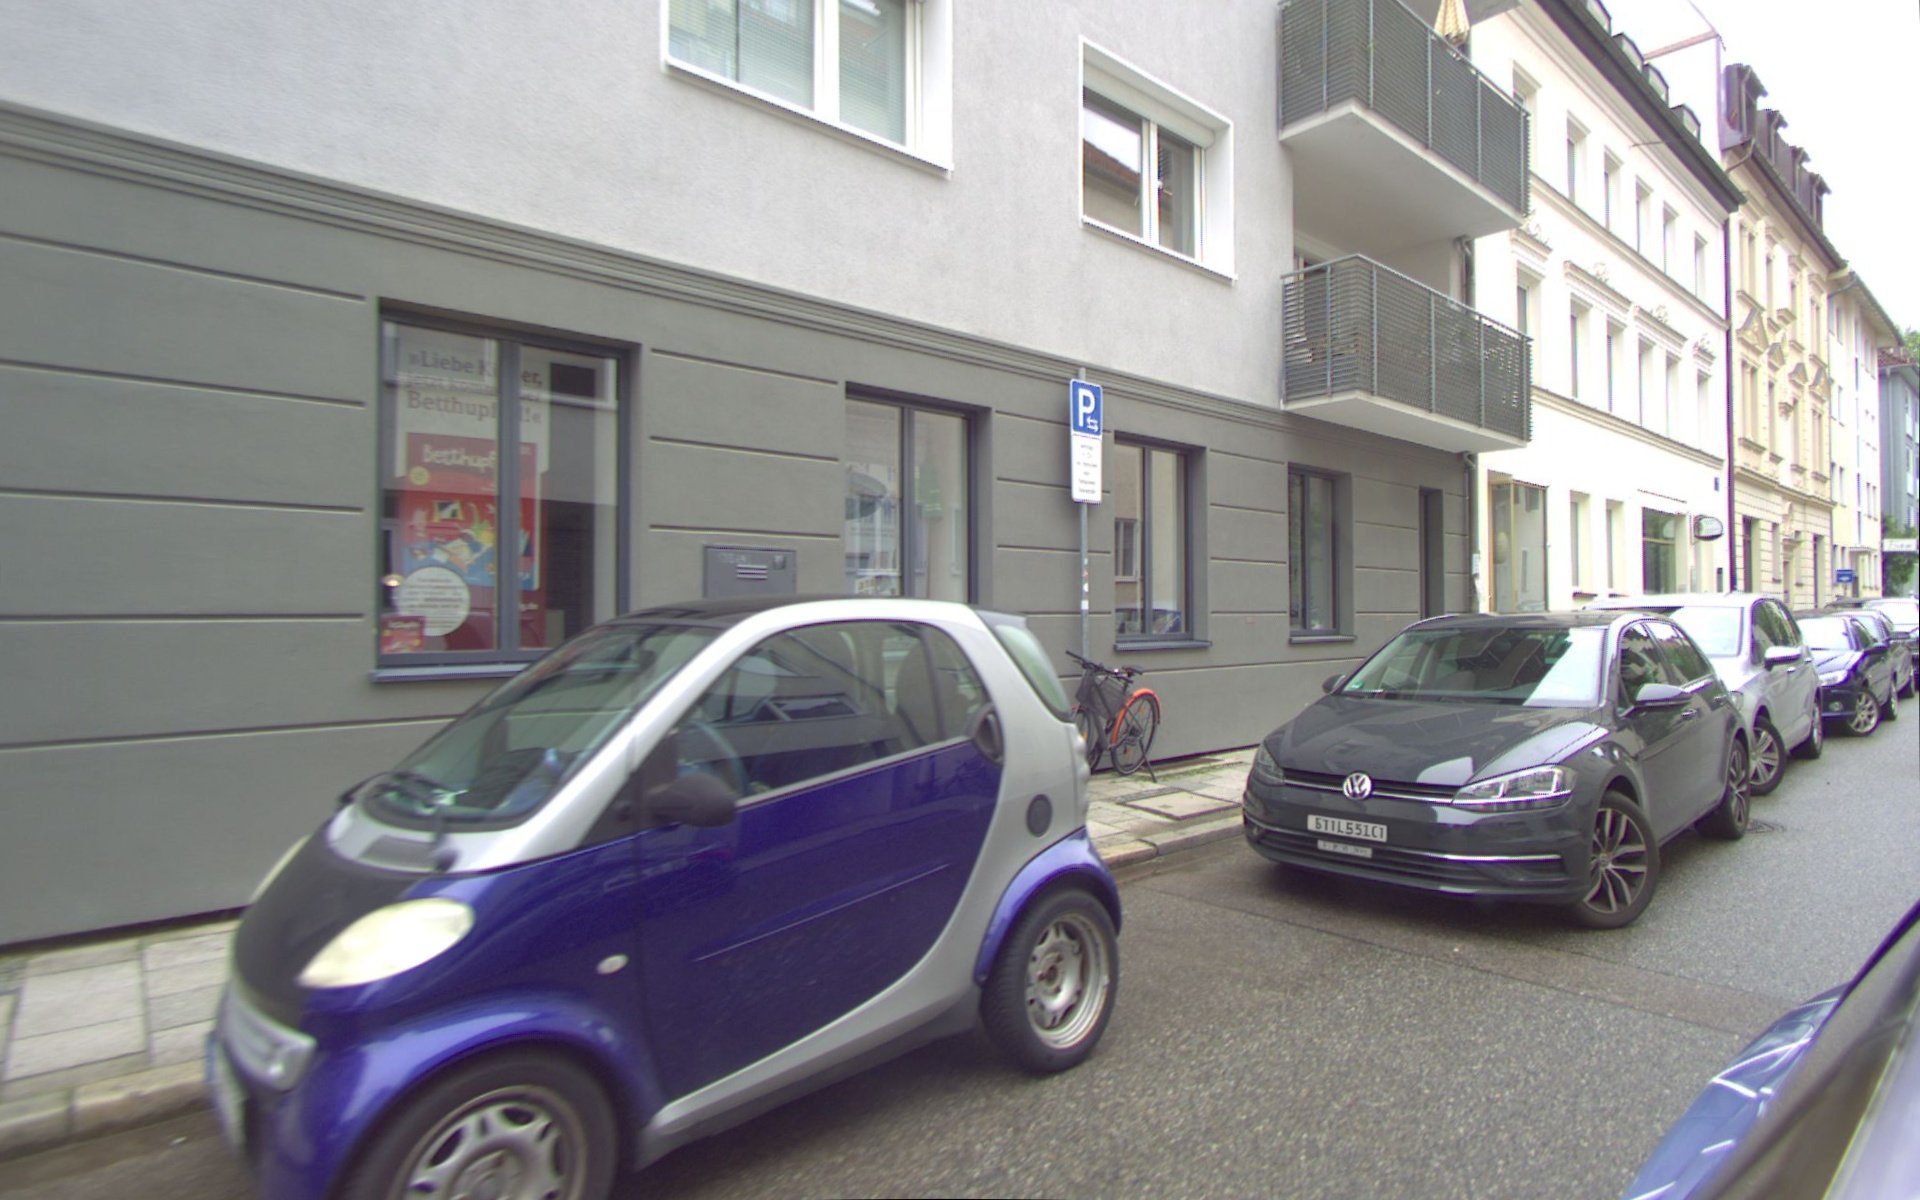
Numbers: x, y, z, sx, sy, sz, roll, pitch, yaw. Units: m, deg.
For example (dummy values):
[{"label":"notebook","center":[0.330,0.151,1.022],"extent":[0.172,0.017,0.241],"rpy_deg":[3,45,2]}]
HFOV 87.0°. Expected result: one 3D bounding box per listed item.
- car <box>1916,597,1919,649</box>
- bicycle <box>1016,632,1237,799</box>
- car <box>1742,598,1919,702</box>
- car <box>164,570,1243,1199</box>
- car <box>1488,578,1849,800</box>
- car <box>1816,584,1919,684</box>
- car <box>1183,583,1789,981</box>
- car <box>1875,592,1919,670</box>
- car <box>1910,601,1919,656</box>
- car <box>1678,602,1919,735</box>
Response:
[{"label":"car","center":[29.965,0.673,30.214],"extent":[3.786,1.511,1.678],"rpy_deg":[0,-1,-41]},{"label":"bicycle","center":[1.352,0.836,7.935],"extent":[1.961,1.105,0.570],"rpy_deg":[0,0,-40]},{"label":"car","center":[13.816,0.667,15.795],"extent":[4.274,1.403,1.802],"rpy_deg":[0,0,-42]},{"label":"car","center":[-0.601,0.724,3.374],"extent":[3.147,1.531,1.523],"rpy_deg":[0,-1,-42]},{"label":"car","center":[6.699,0.616,9.382],"extent":[4.243,1.590,1.878],"rpy_deg":[0,1,-43]},{"label":"car","center":[17.534,0.573,18.925],"extent":[4.434,1.682,1.678],"rpy_deg":[0,-1,-41]},{"label":"car","center":[3.359,0.720,6.057],"extent":[4.219,1.548,1.842],"rpy_deg":[0,-1,-42]},{"label":"car","center":[21.920,0.642,22.558],"extent":[4.603,1.627,1.704],"rpy_deg":[0,-1,-41]},{"label":"car","center":[26.378,0.714,26.589],"extent":[3.994,1.411,1.678],"rpy_deg":[0,-1,-41]},{"label":"car","center":[10.631,0.728,12.656],"extent":[3.875,1.380,1.811],"rpy_deg":[0,0,-40]}]
